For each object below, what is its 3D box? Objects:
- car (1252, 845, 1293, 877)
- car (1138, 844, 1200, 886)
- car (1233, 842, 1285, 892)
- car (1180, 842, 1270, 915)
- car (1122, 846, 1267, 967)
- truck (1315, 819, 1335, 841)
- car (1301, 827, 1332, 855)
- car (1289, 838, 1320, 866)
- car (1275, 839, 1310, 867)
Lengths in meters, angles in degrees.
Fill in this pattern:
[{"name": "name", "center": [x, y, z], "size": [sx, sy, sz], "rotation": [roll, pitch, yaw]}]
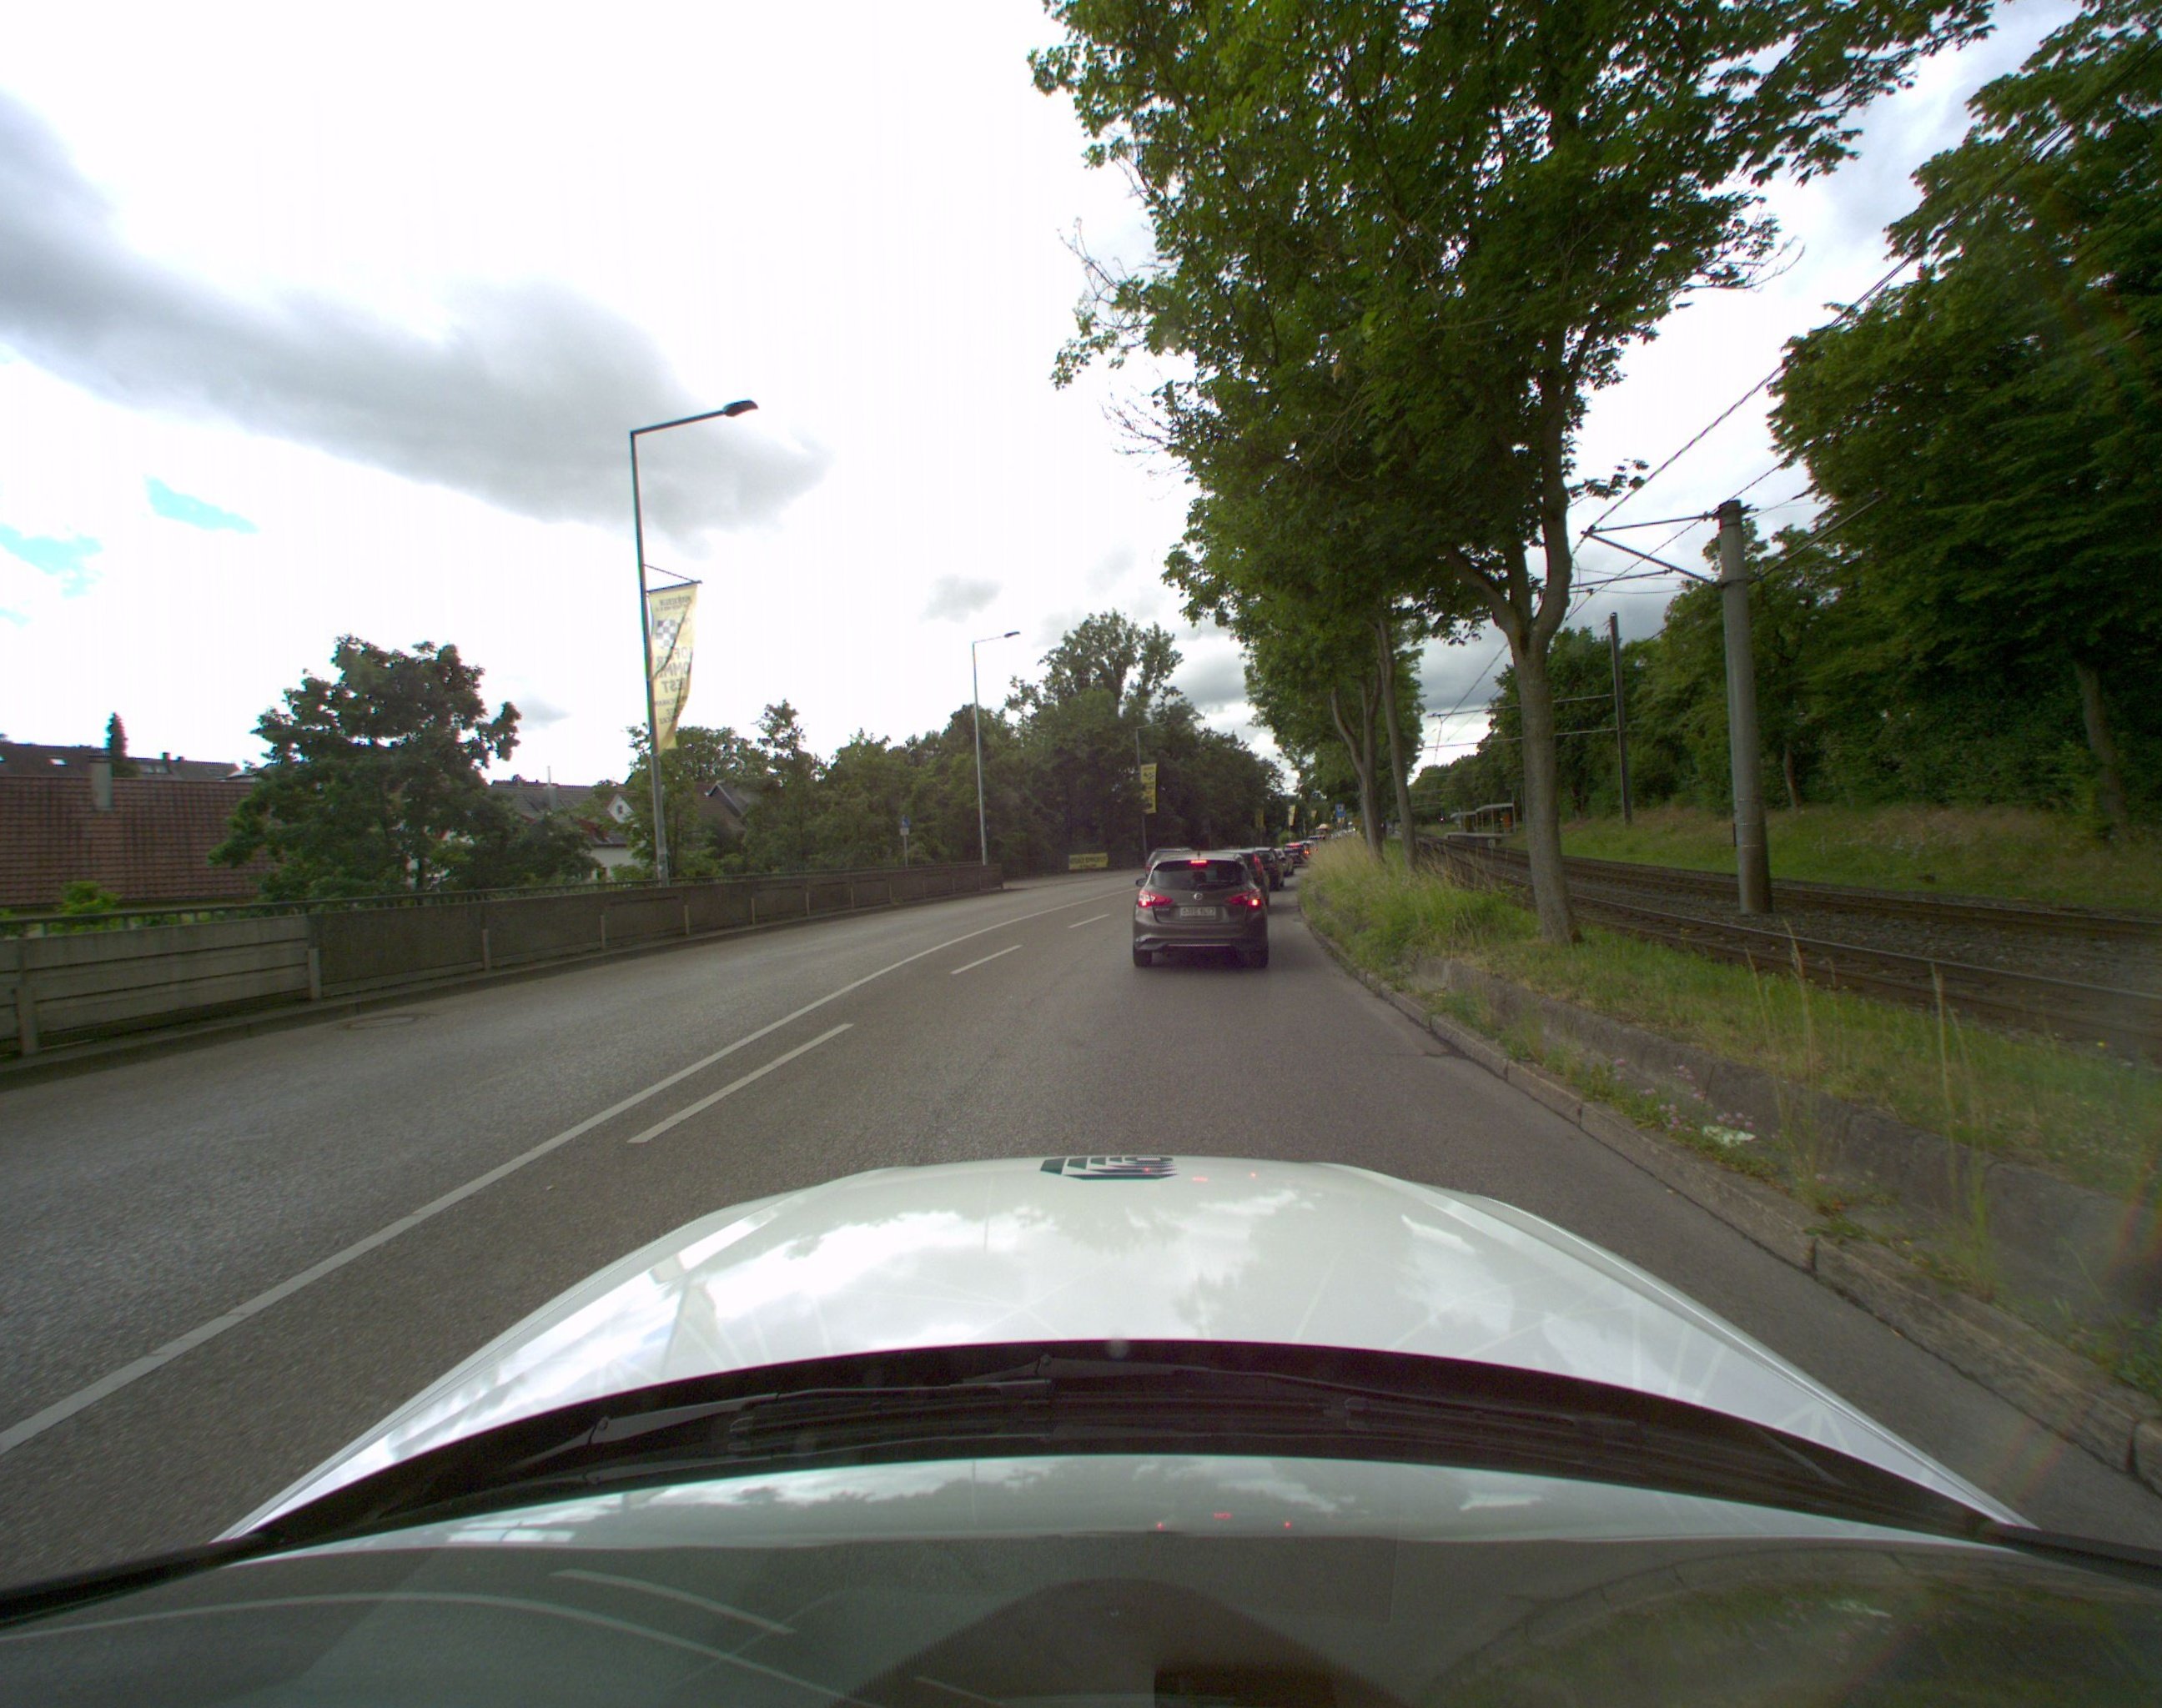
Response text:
[{"name": "car", "center": [9.046, 0.302, 38.354], "size": [1.488, 1.364, 3.604], "rotation": [-4, -1, 18]}, {"name": "car", "center": [3.609, 0.394, 32.712], "size": [1.838, 1.486, 4.437], "rotation": [-3, 0, 14]}, {"name": "car", "center": [6.190, 0.429, 28.329], "size": [1.567, 1.538, 4.014], "rotation": [-4, -1, 12]}, {"name": "car", "center": [3.660, 0.564, 20.134], "size": [1.879, 1.574, 4.015], "rotation": [-2, -1, 14]}, {"name": "car", "center": [1.759, 0.679, 12.154], "size": [1.763, 1.494, 4.011], "rotation": [-1, -1, 10]}, {"name": "truck", "center": [47.019, -4.571, 156.678], "size": [2.632, 3.938, 10.165], "rotation": [-2, 0, 22]}, {"name": "car", "center": [18.066, -0.993, 62.414], "size": [1.875, 2.013, 4.021], "rotation": [-3, 0, 21]}, {"name": "car", "center": [14.931, -0.097, 54.280], "size": [1.704, 1.693, 4.019], "rotation": [-4, -2, 19]}, {"name": "car", "center": [12.465, -0.033, 47.799], "size": [1.791, 1.540, 4.017], "rotation": [-1, 0, 17]}]
